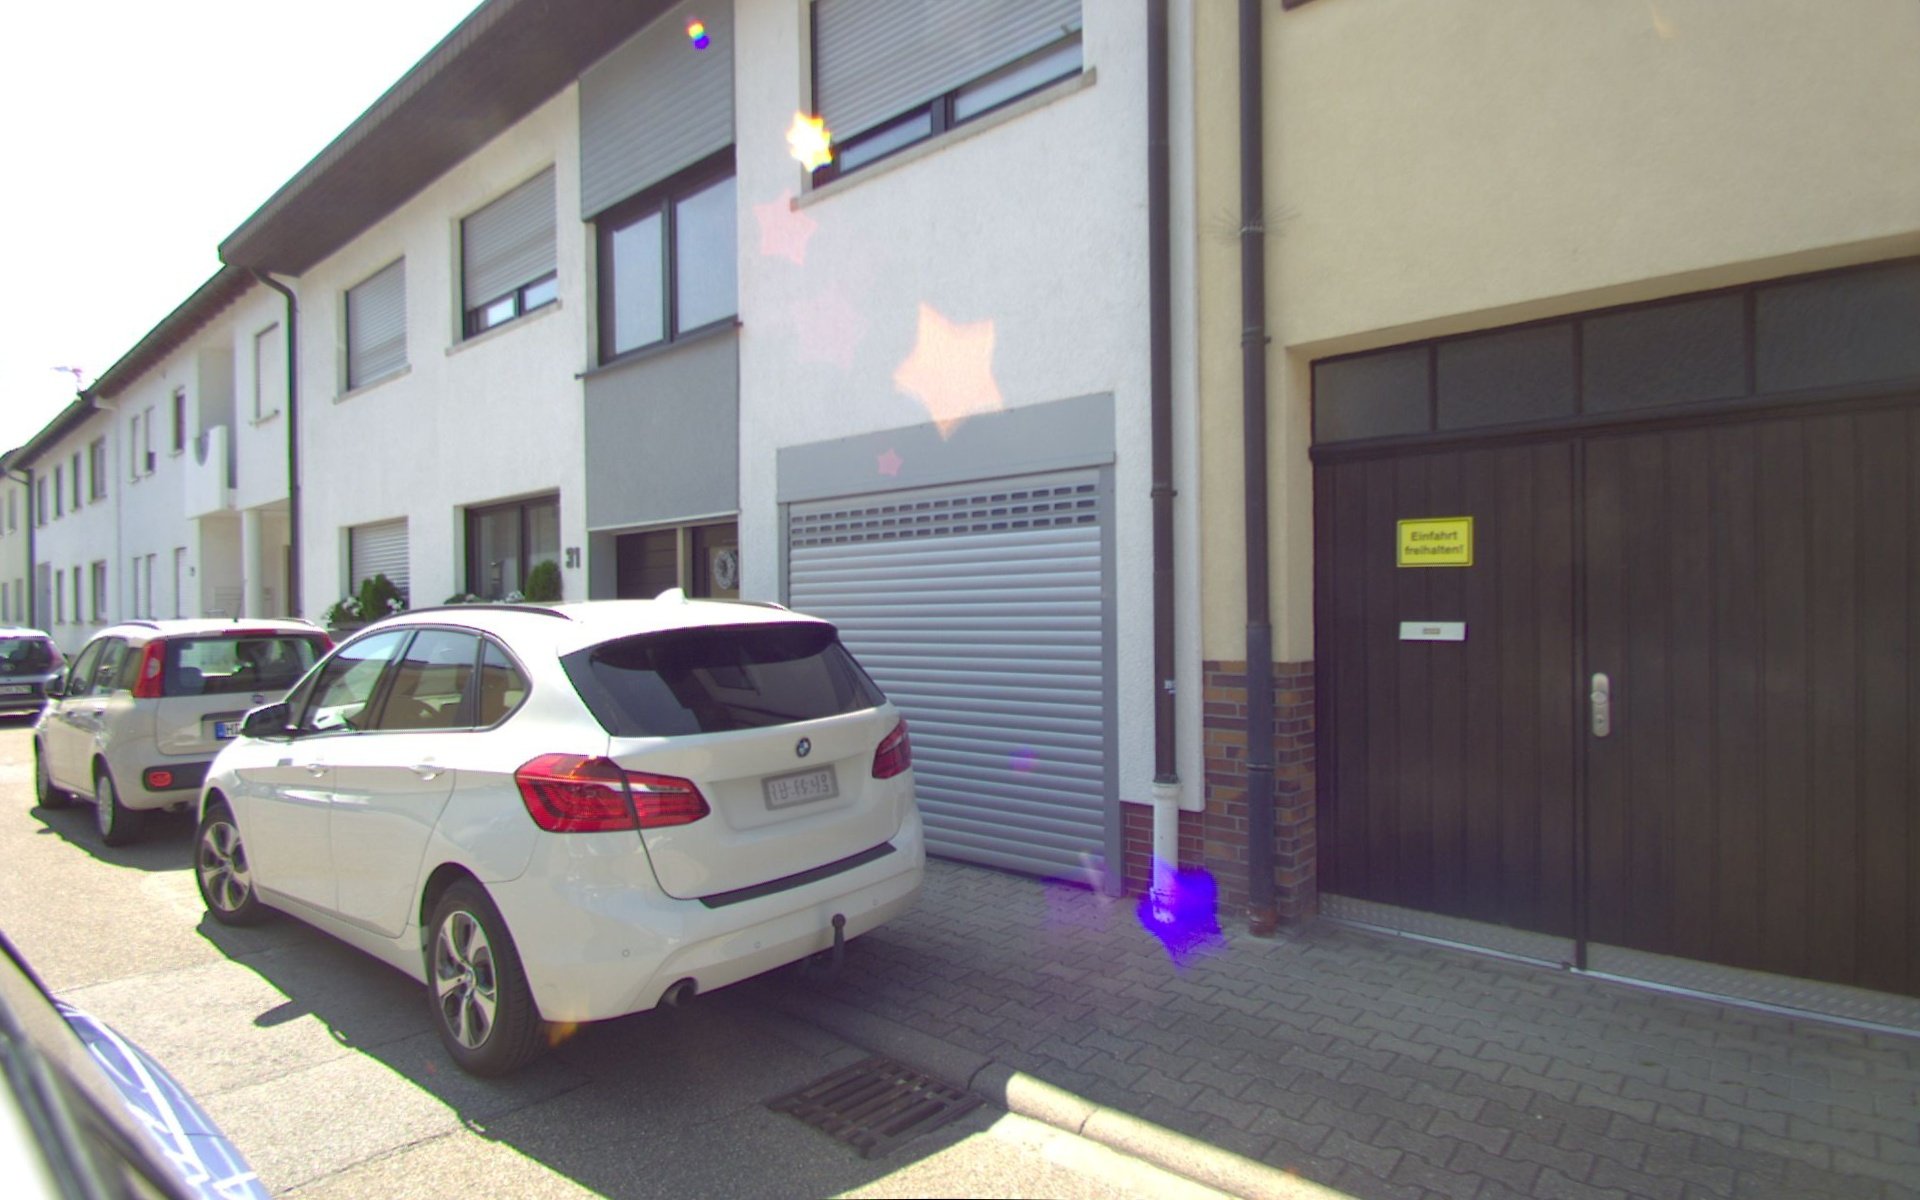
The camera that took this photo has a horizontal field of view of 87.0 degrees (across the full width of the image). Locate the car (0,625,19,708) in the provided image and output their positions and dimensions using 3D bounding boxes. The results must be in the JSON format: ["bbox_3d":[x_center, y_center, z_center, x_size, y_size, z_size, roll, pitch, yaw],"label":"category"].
[{"bbox_3d":[-19.390,1.266,19.628,3.024,1.540,1.395,-1,-2,42],"label":"car"}]

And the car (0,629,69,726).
[{"bbox_3d":[-15.750,1.225,16.424,3.213,1.454,1.585,-2,-2,42],"label":"car"}]

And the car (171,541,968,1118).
[{"bbox_3d":[-2.032,0.730,4.644,3.937,1.561,1.647,-4,-3,39],"label":"car"}]

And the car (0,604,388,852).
[{"bbox_3d":[-6.265,0.843,8.154,3.684,1.553,1.647,-1,-1,39],"label":"car"}]
